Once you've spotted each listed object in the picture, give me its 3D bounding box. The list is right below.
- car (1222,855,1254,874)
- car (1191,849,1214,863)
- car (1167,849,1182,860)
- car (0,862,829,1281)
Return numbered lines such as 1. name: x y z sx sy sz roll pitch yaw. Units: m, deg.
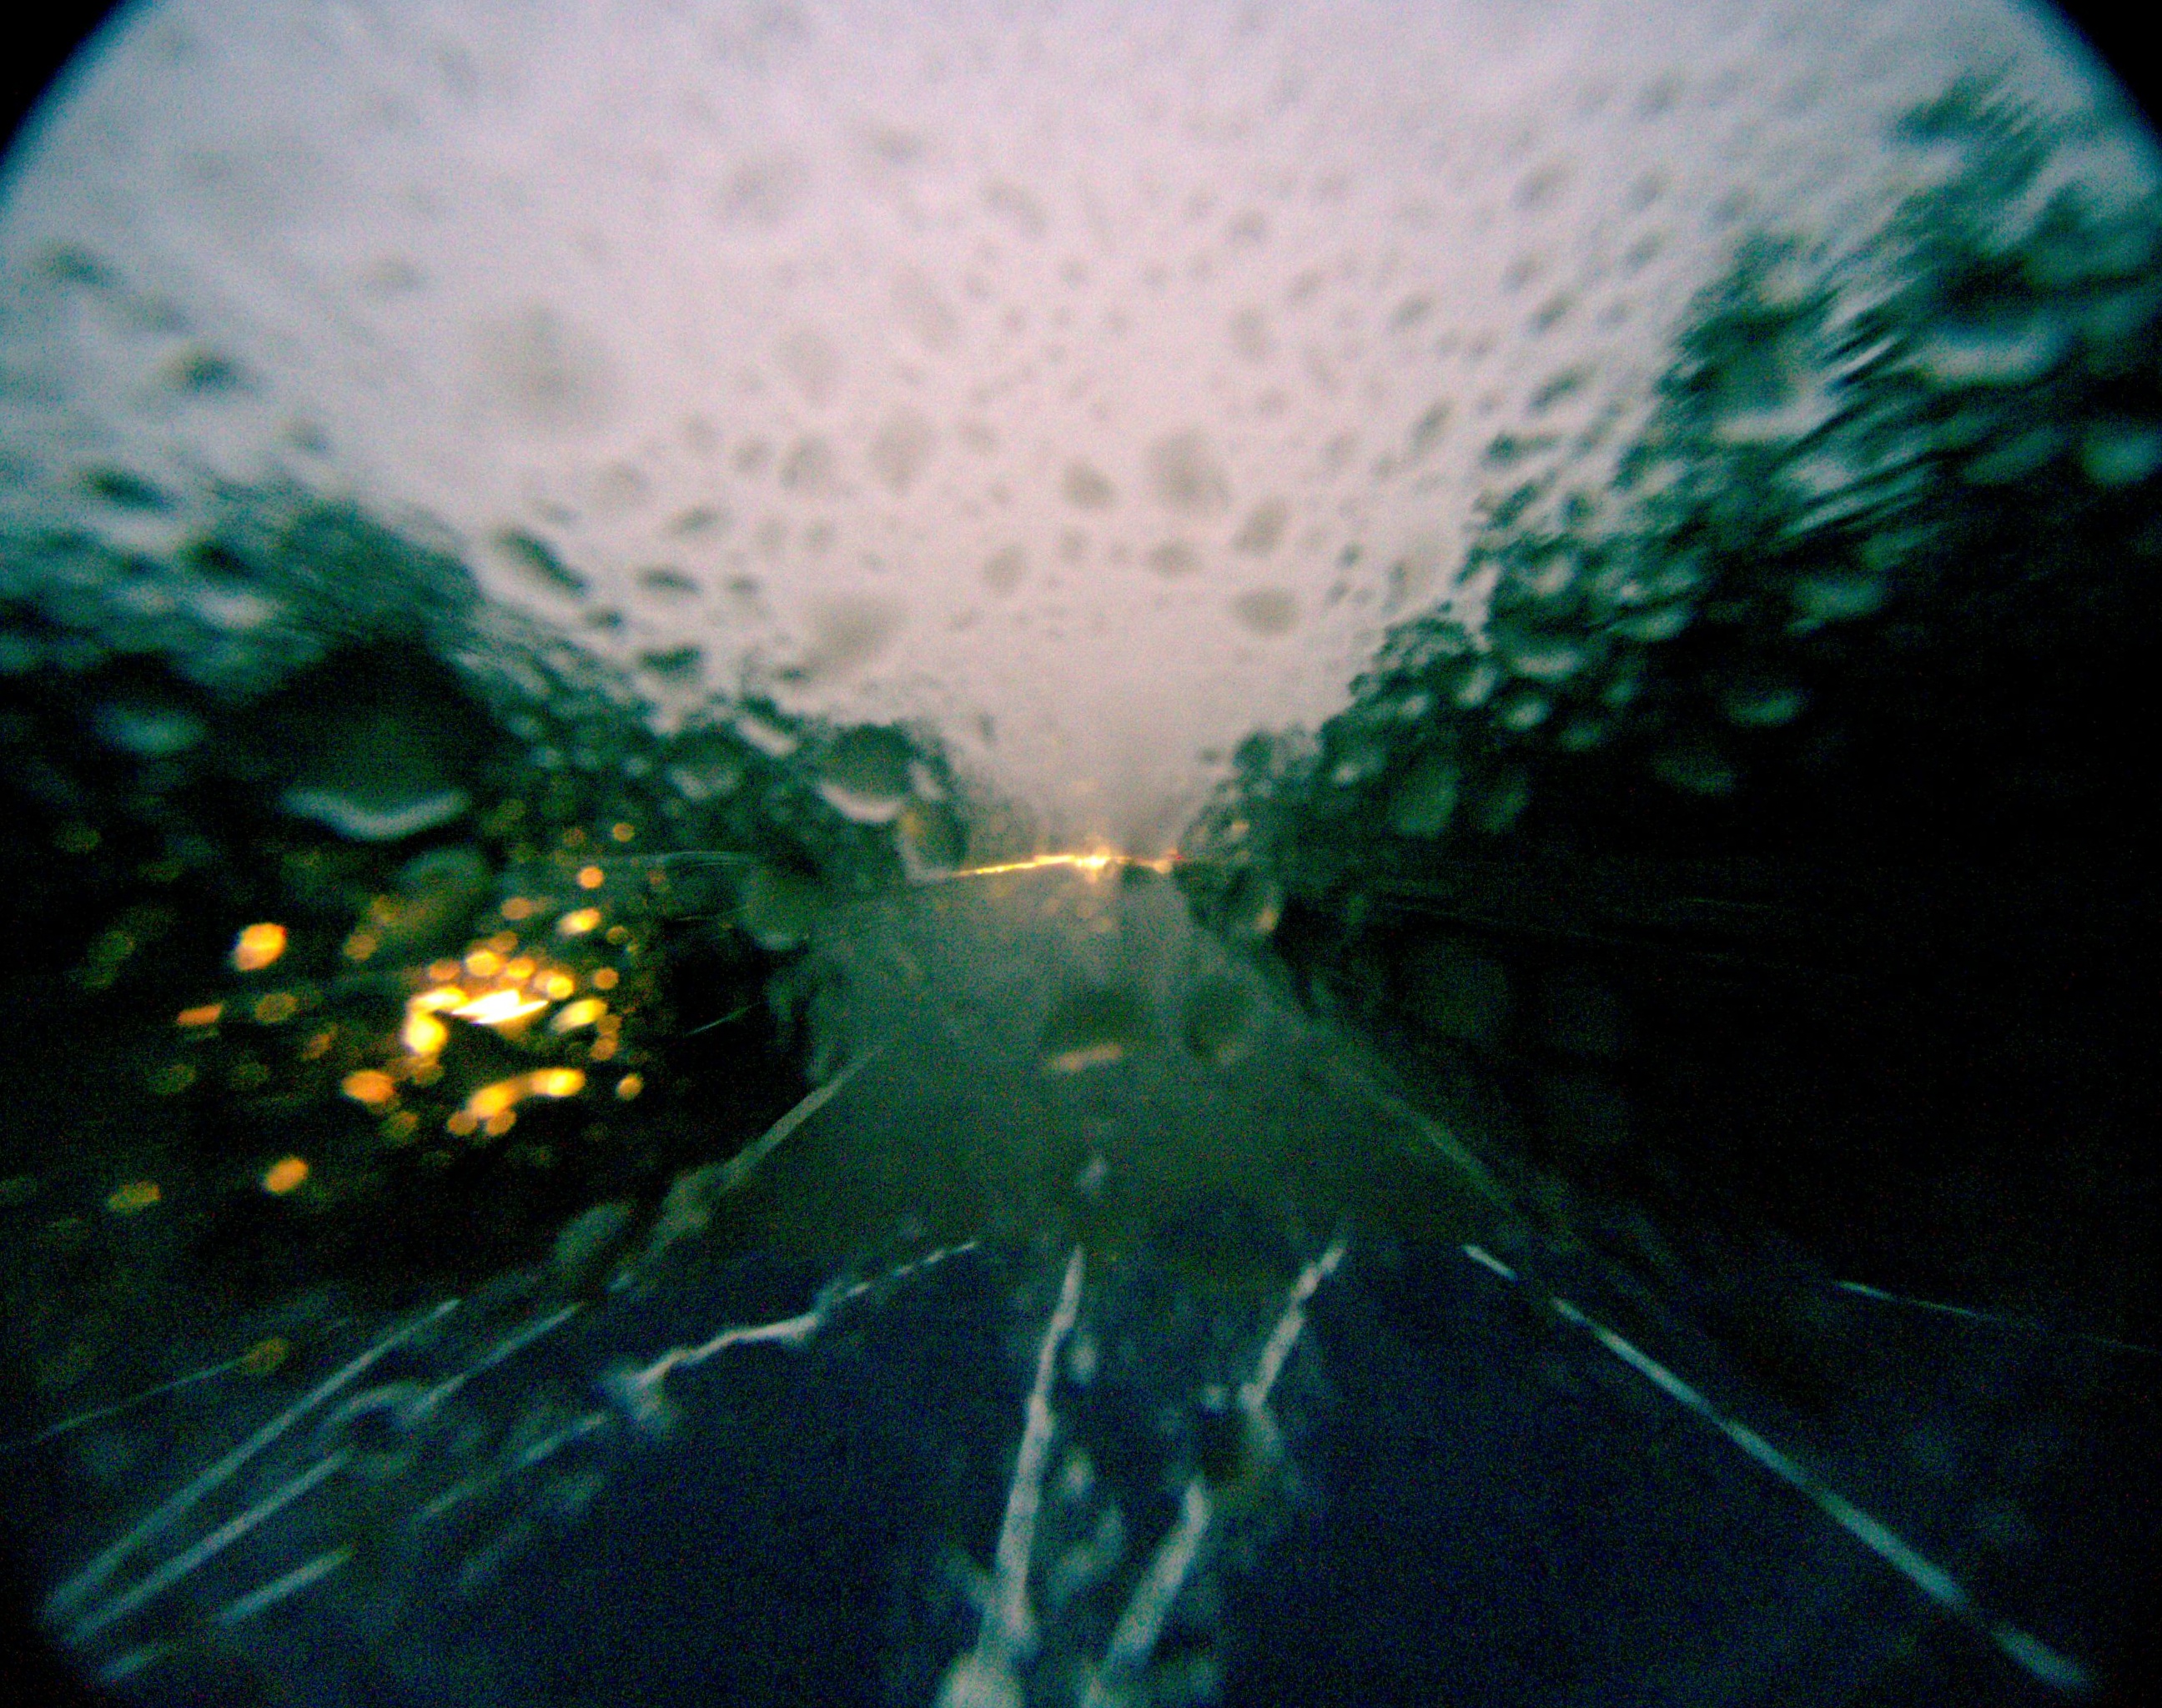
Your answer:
1. car: 12.880 0.835 62.504 1.680 1.381 3.981 -2 0 -1
2. car: 13.738 0.234 86.144 1.798 1.432 4.042 -2 0 -1
3. car: 14.442 0.092 117.233 1.817 1.681 4.000 -2 0 1
4. car: -3.633 0.961 5.496 2.075 1.688 4.461 -2 0 0
